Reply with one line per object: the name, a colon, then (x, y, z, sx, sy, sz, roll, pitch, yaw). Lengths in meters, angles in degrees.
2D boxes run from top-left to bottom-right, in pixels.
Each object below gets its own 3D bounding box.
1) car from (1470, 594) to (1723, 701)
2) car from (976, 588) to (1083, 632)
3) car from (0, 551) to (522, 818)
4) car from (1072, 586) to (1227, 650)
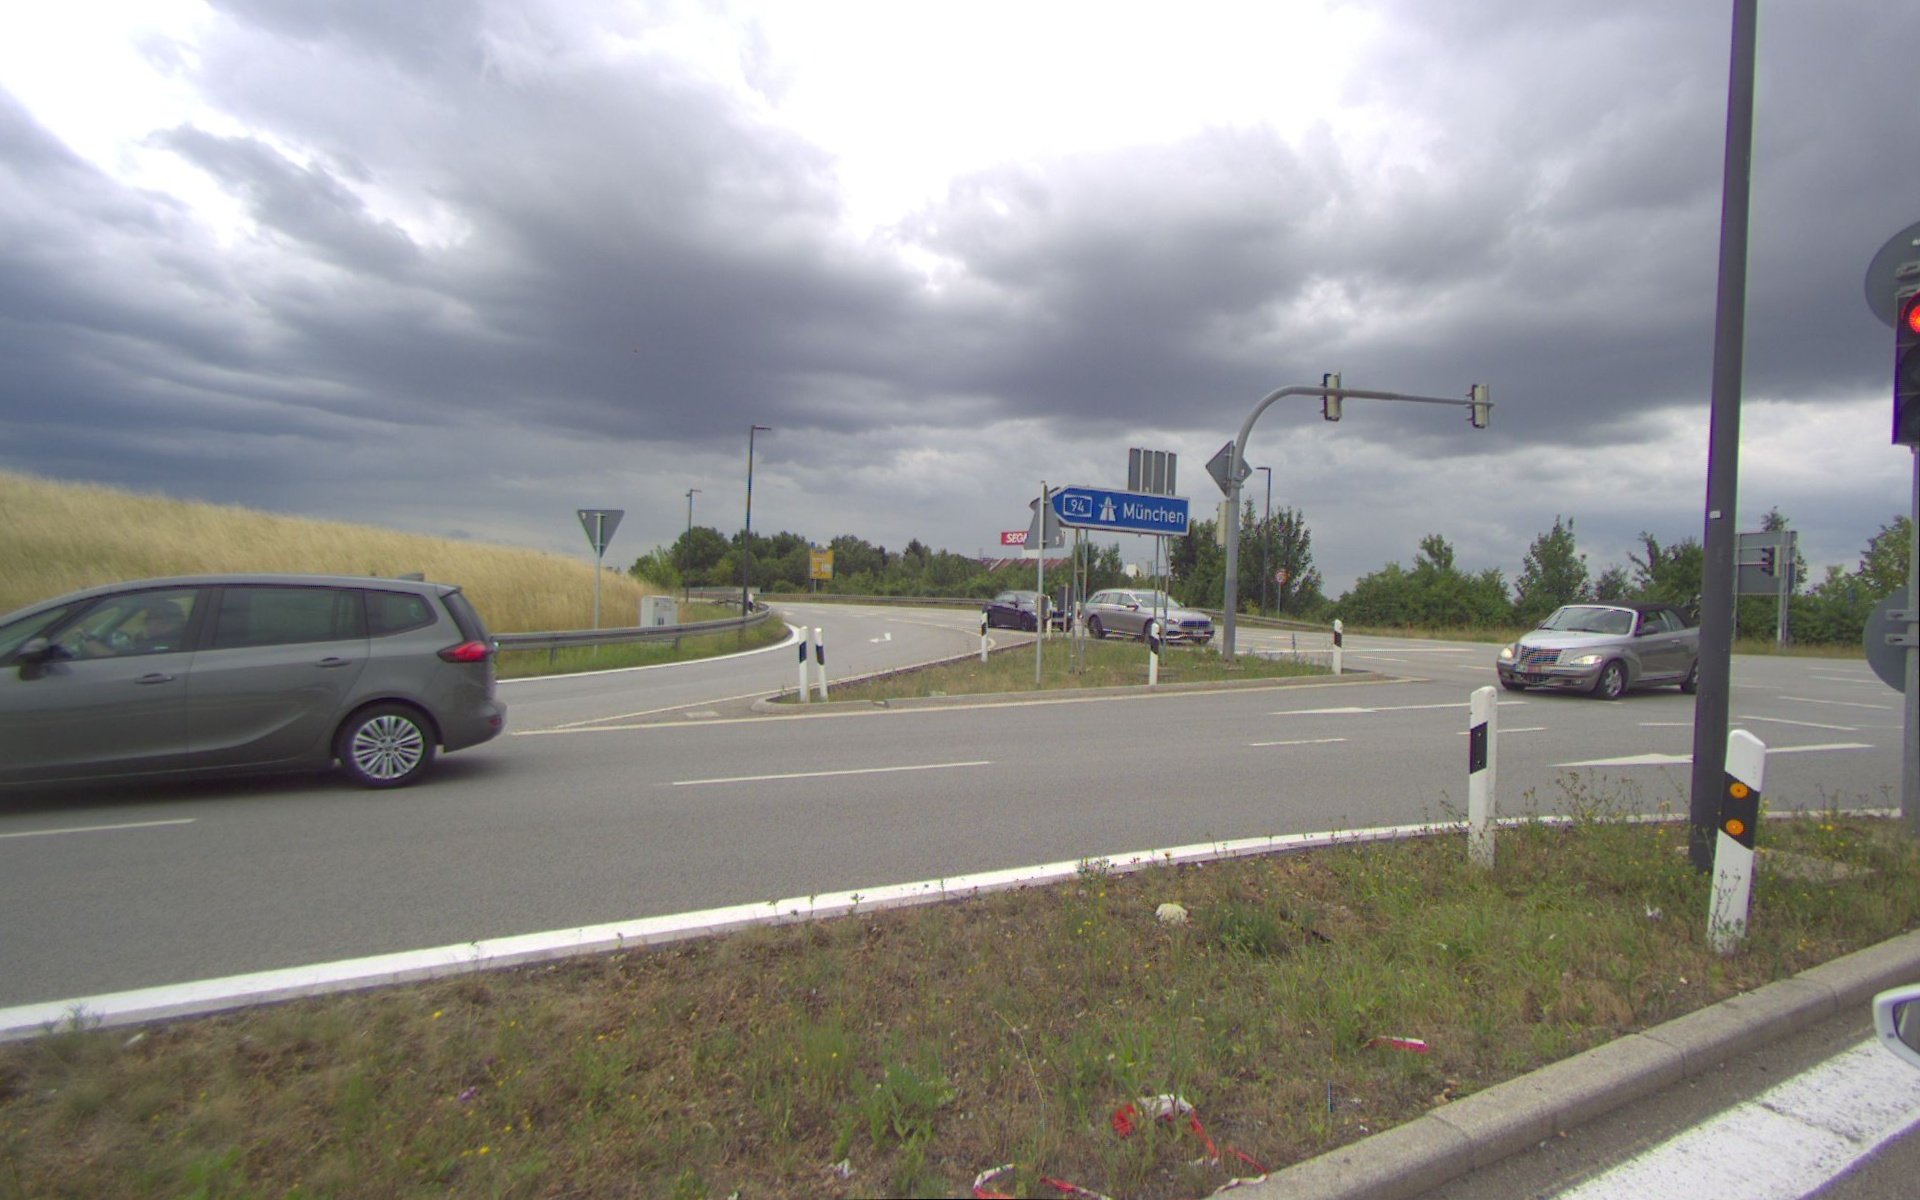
car: (10.550, 0.699, 16.599, 4.192, 1.541, 1.801, 0, 1, -30)
car: (2.388, 0.332, 35.790, 1.690, 1.429, 4.643, 2, 0, -26)
car: (-5.901, 0.559, 7.758, 4.403, 1.716, 1.984, 2, 0, -30)
car: (5.364, 0.457, 29.175, 1.895, 1.632, 4.916, 0, 1, -26)
